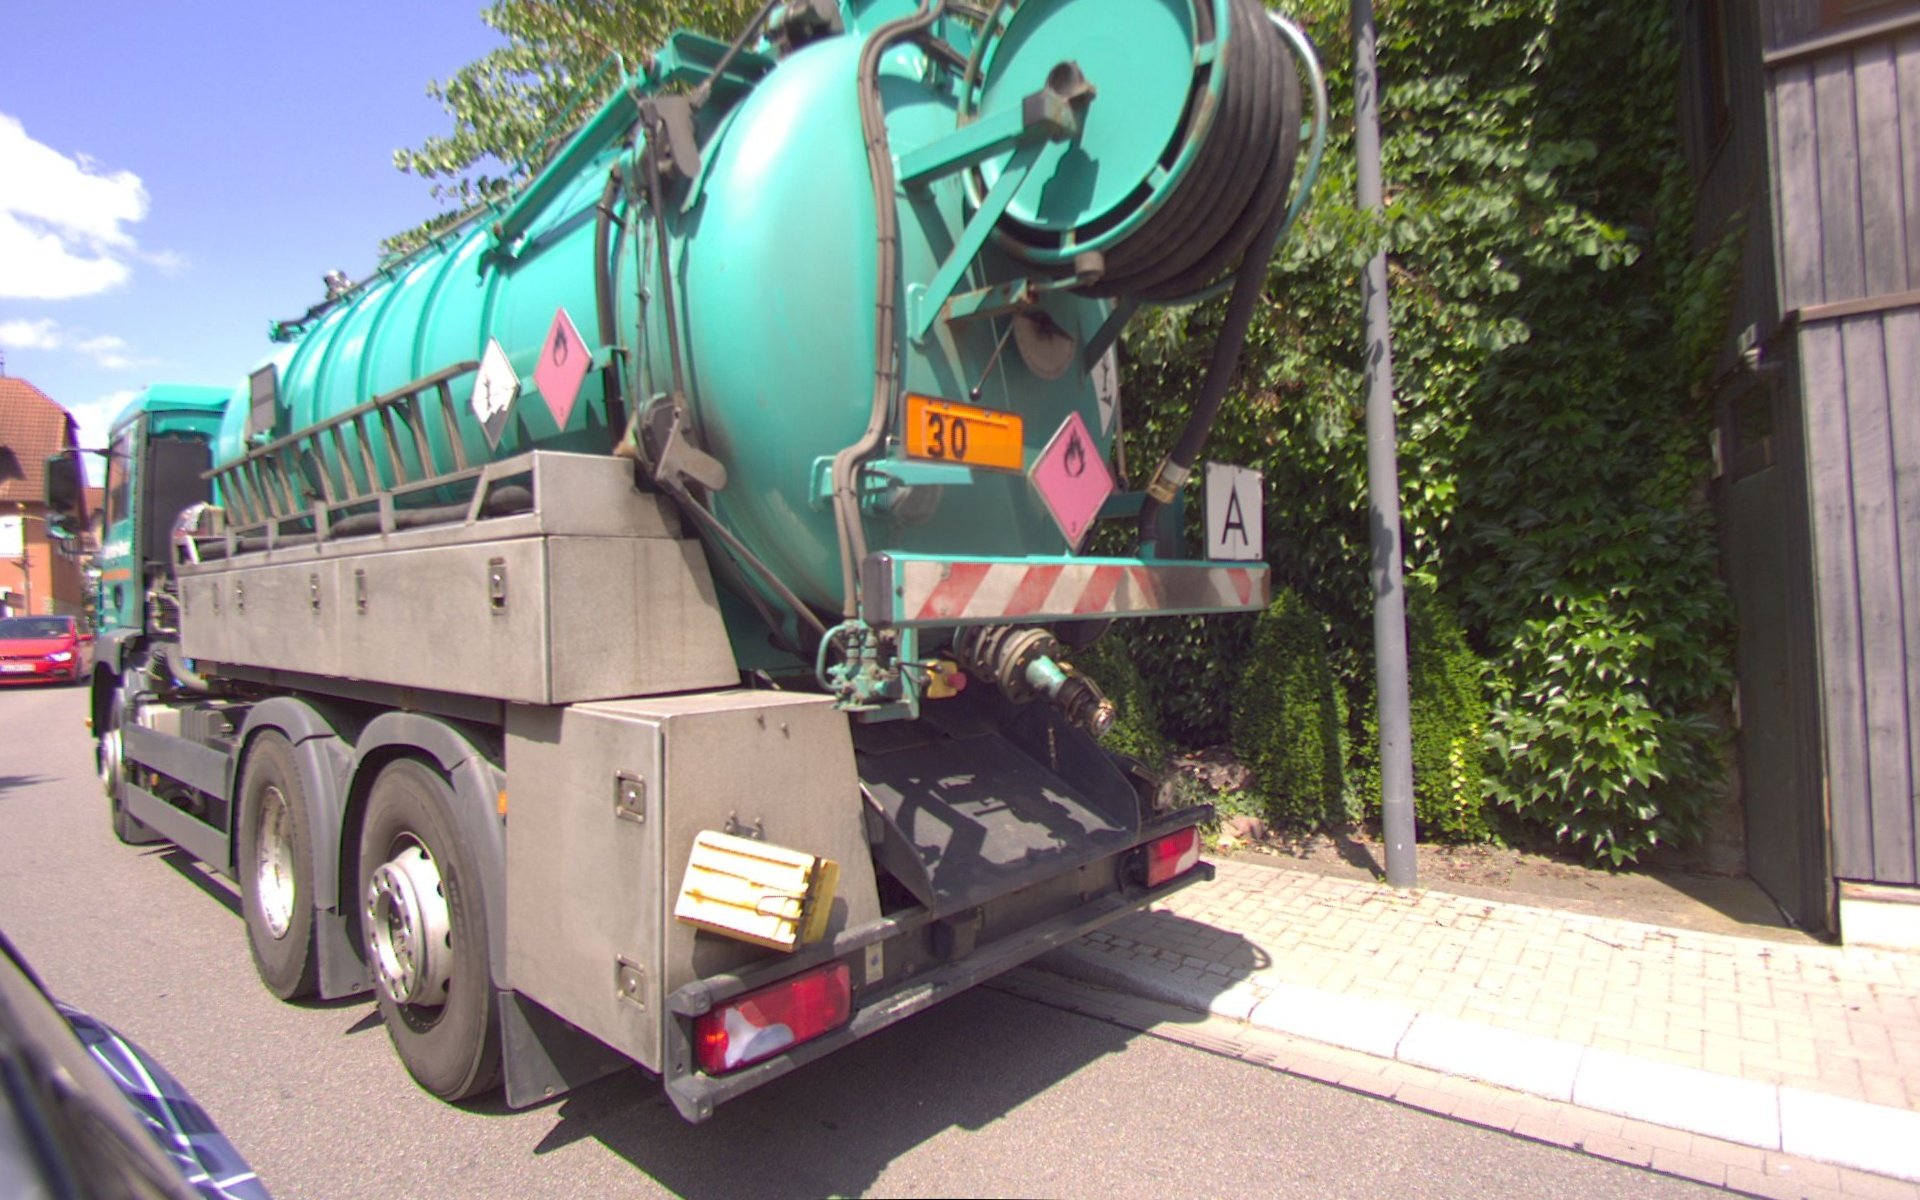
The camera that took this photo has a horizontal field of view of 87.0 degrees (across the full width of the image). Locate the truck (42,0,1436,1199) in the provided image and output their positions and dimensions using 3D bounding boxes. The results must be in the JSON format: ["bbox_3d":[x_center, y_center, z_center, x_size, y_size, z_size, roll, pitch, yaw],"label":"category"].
[{"bbox_3d":[-2.833,-0.354,5.541,9.566,3.686,2.385,-1,-1,43],"label":"truck"}]

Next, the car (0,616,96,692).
[{"bbox_3d":[-18.502,1.022,20.101,1.643,1.362,3.503,-1,0,-34],"label":"car"}]
